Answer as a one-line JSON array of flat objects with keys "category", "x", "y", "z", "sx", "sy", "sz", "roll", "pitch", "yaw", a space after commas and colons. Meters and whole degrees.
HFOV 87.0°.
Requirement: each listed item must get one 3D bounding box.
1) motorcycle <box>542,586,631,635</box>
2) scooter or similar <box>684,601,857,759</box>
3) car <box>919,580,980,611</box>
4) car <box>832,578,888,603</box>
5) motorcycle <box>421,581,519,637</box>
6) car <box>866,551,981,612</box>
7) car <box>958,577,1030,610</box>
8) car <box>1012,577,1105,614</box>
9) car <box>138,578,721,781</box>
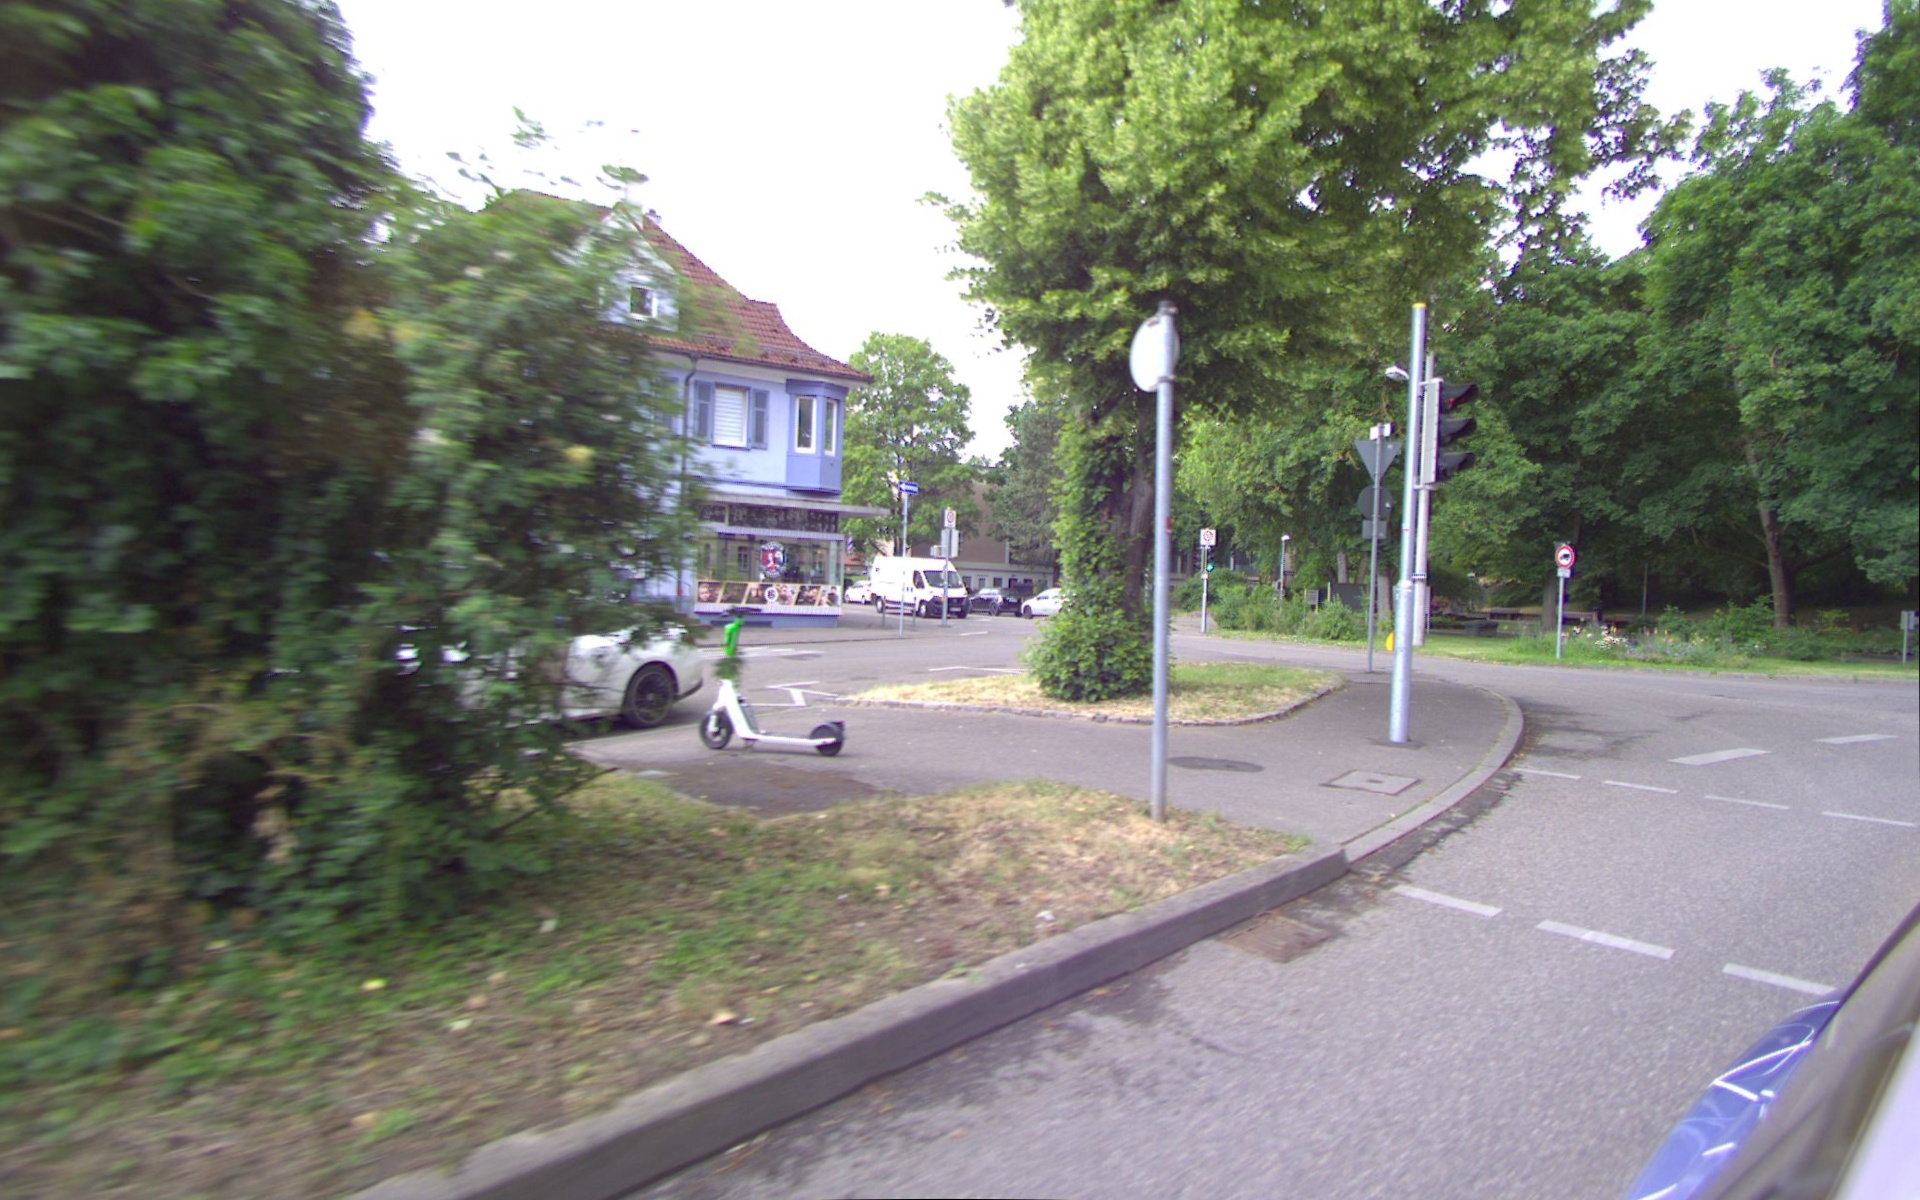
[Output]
[{"category": "motorcycle", "x": -8.029, "y": 0.221, "z": 21.817, "sx": 0.519, "sy": 0.998, "sz": 1.798, "roll": 2, "pitch": 1, "yaw": 38}, {"category": "scooter or similar", "x": -1.510, "y": 0.599, "z": 8.024, "sx": 1.346, "sy": 1.181, "sz": 0.409, "roll": 0, "pitch": 0, "yaw": 22}, {"category": "car", "x": -0.617, "y": -0.286, "z": 54.908, "sx": 1.677, "sy": 1.505, "sz": 3.765, "roll": 1, "pitch": 2, "yaw": -29}, {"category": "car", "x": -6.473, "y": -0.614, "z": 65.202, "sx": 1.886, "sy": 1.474, "sz": 4.407, "roll": 1, "pitch": 2, "yaw": -30}, {"category": "motorcycle", "x": -9.773, "y": 0.167, "z": 20.230, "sx": 0.487, "sy": 1.044, "sz": 1.701, "roll": 3, "pitch": 2, "yaw": 38}, {"category": "car", "x": -1.694, "y": -0.852, "z": 43.765, "sx": 2.290, "sy": 2.421, "sz": 5.965, "roll": 1, "pitch": 2, "yaw": -31}, {"category": "car", "x": 1.678, "y": -0.346, "z": 50.925, "sx": 1.765, "sy": 1.474, "sz": 3.963, "roll": 1, "pitch": 2, "yaw": -30}, {"category": "car", "x": 4.399, "y": -0.232, "z": 46.007, "sx": 1.862, "sy": 1.474, "sz": 4.552, "roll": 1, "pitch": 2, "yaw": -30}, {"category": "car", "x": -4.735, "y": 0.532, "z": 9.876, "sx": 1.983, "sy": 1.403, "sz": 4.738, "roll": 3, "pitch": 2, "yaw": 30}]
